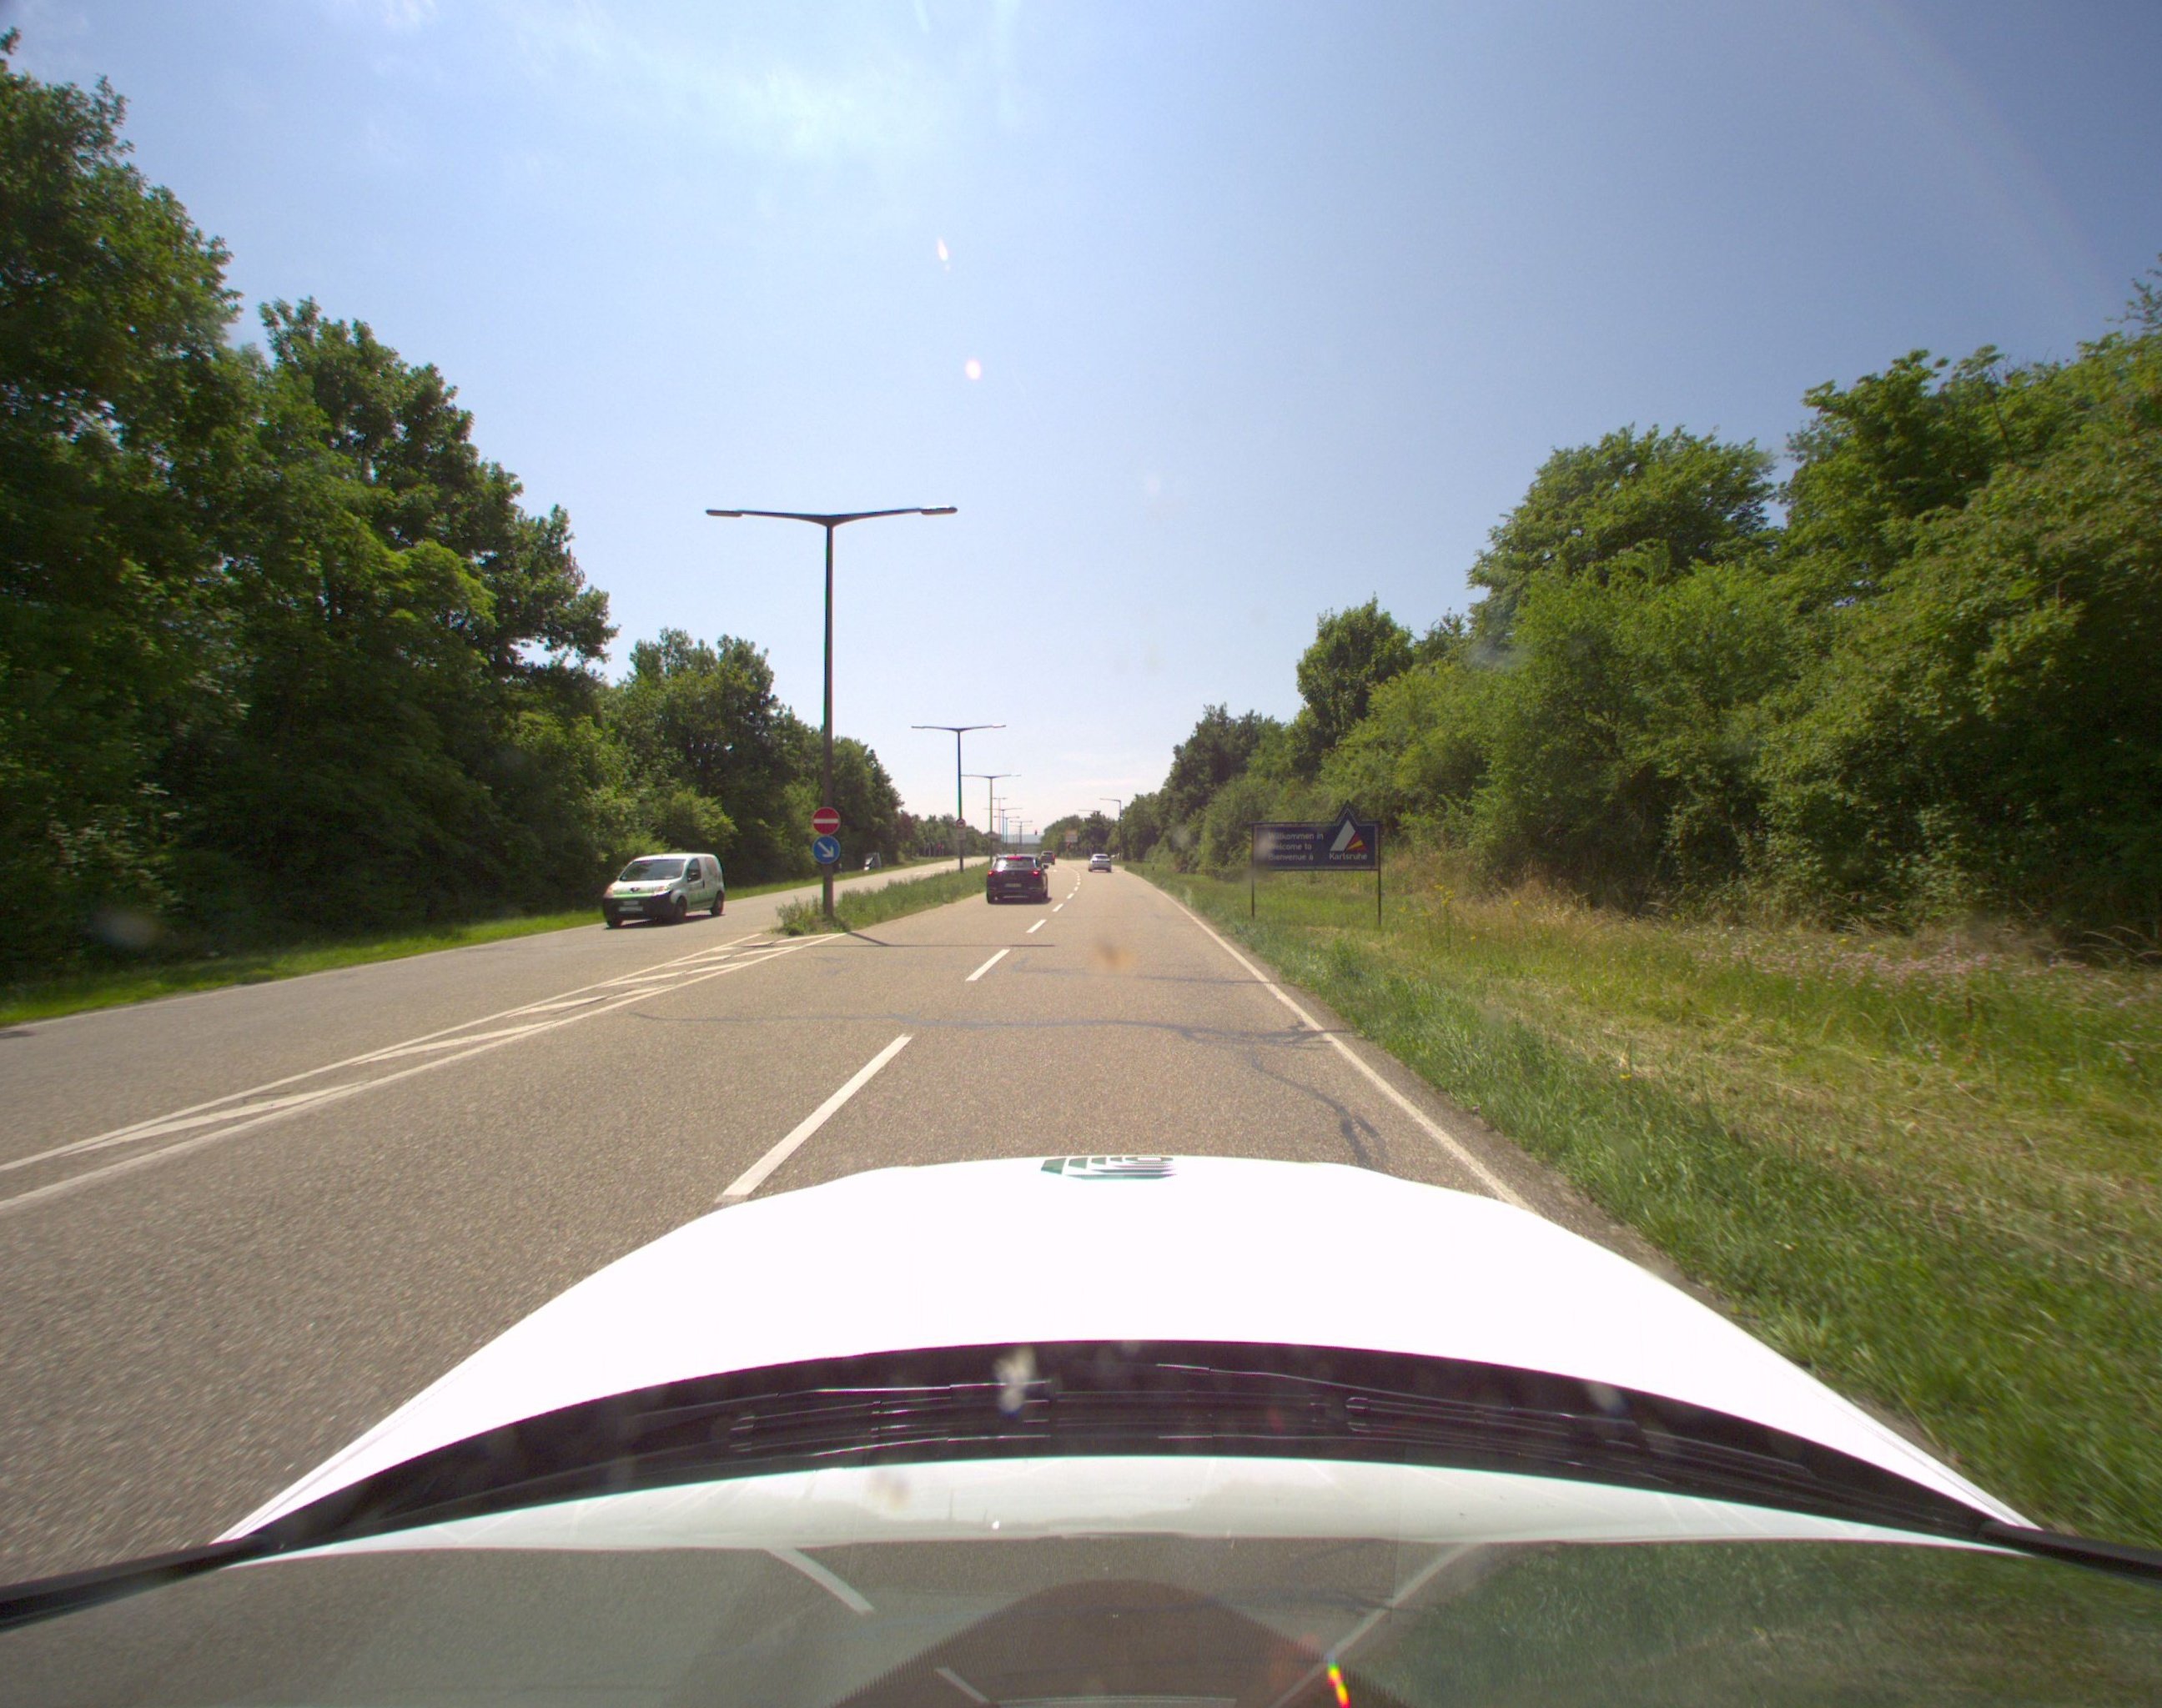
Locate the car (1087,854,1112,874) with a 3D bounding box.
[{"bbox_3d":[1.484,0.820,67.128,1.792,1.583,3.997,0,0,-2],"label":"car"}]

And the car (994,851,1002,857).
[{"bbox_3d":[-21.153,-0.072,207.169,1.823,1.519,3.997,1,0,-2],"label":"car"}]

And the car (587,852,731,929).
[{"bbox_3d":[-10.561,0.830,20.752,1.729,1.687,4.088,-3,0,-4],"label":"car"}]

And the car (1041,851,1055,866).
[{"bbox_3d":[-4.300,0.579,104.847,1.752,1.929,3.994,0,0,-4],"label":"car"}]

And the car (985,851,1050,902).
[{"bbox_3d":[-2.016,0.707,27.007,1.749,1.556,4.001,0,0,1],"label":"car"}]
